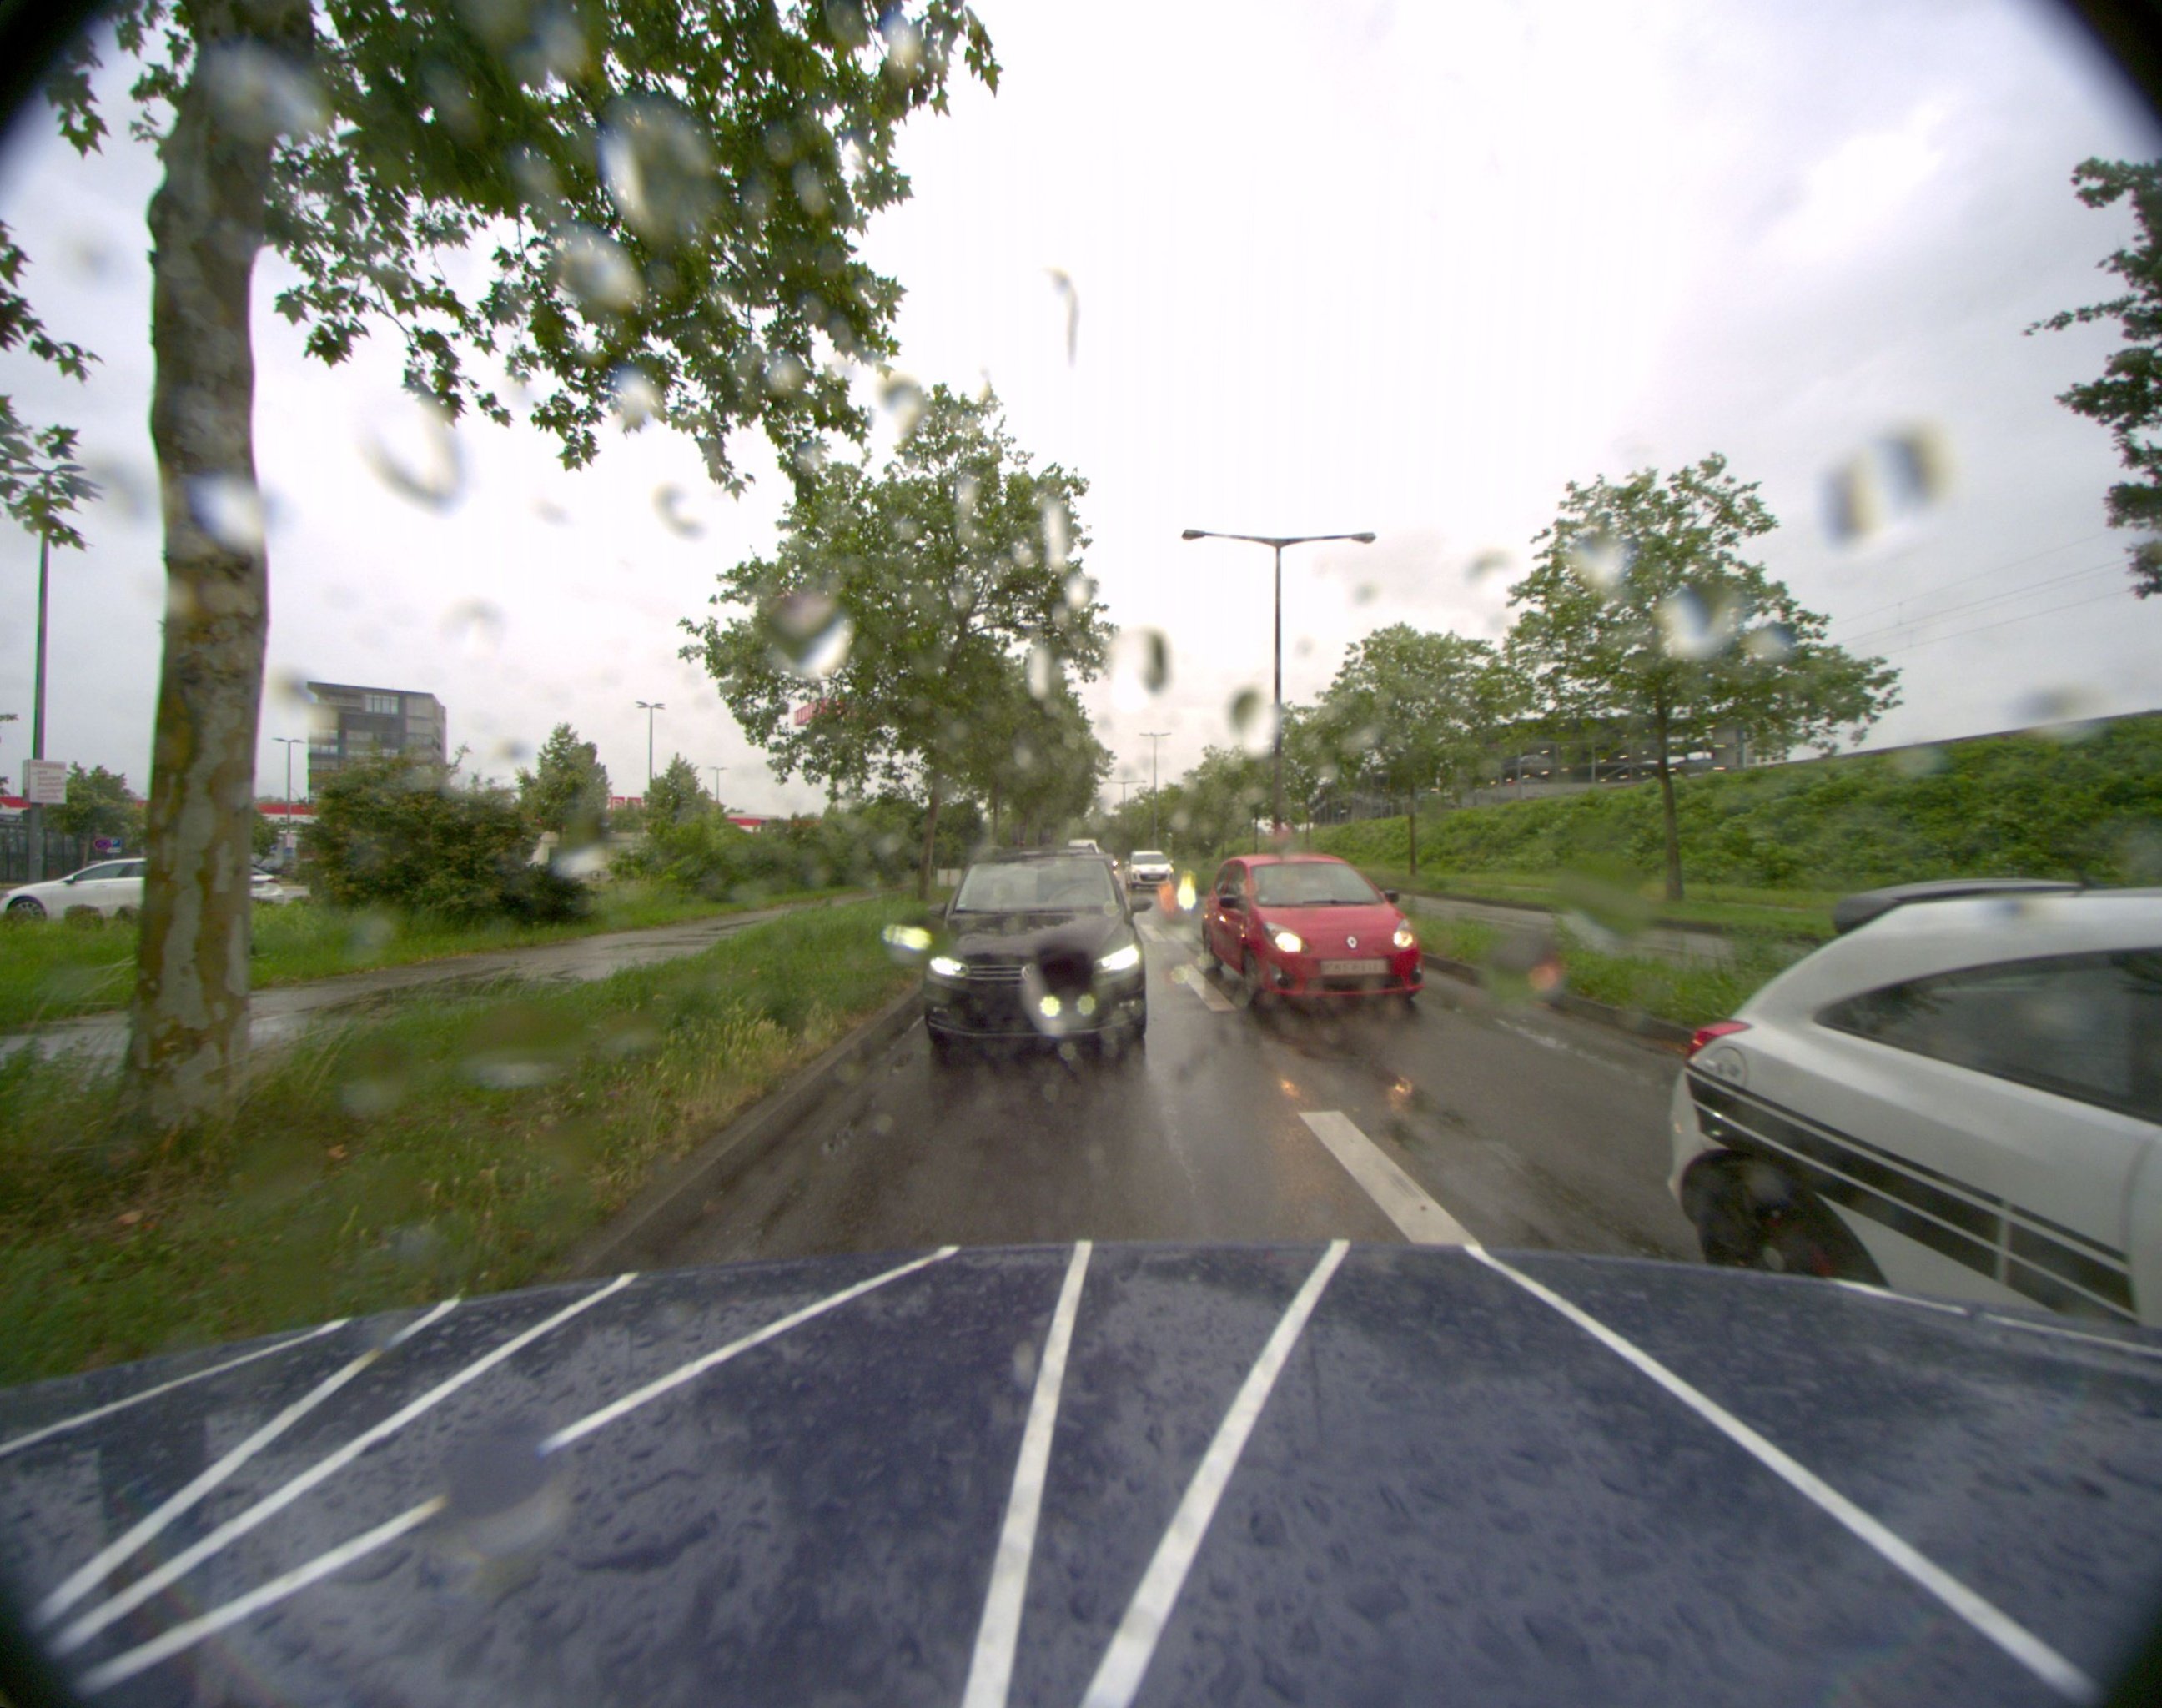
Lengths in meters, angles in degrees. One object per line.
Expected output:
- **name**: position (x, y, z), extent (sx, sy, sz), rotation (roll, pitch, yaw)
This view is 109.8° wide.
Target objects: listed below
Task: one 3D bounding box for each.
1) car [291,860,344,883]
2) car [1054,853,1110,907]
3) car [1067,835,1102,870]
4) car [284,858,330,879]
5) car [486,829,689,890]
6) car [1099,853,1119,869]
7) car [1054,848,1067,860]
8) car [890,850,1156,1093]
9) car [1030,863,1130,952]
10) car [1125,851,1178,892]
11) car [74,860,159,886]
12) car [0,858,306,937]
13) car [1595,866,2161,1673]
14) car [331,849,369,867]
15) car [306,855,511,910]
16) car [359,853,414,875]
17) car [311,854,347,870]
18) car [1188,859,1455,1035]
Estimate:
- **car**: position (-57.146, 1.269, 56.939), extent (1.933, 1.543, 4.262), rotation (0, 1, -33)
- **car**: position (0.024, 0.881, 27.718), extent (1.831, 1.737, 4.147), rotation (-2, 0, 0)
- **car**: position (0.260, -0.137, 48.699), extent (1.998, 2.002, 5.131), rotation (-2, 1, 1)
- **car**: position (-67.325, 1.252, 66.165), extent (2.006, 1.667, 4.262), rotation (0, 1, -34)
- **car**: position (-19.685, 0.204, 30.667), extent (6.425, 2.349, 2.390), rotation (0, 1, -8)
- **car**: position (2.846, 0.674, 77.246), extent (1.715, 1.494, 3.999), rotation (-2, 0, -2)
- **car**: position (-3.649, -0.044, 134.289), extent (1.726, 2.002, 3.996), rotation (-2, 1, -10)
- **car**: position (-0.440, 0.797, 7.539), extent (1.771, 1.596, 4.626), rotation (-2, 1, -1)
- **car**: position (-0.022, 0.962, 15.497), extent (1.724, 1.456, 4.092), rotation (-2, 0, 0)
- **car**: position (2.967, 0.714, 32.764), extent (1.831, 1.602, 4.147), rotation (-2, 0, 0)
- **car**: position (-61.758, 1.173, 48.746), extent (1.933, 1.543, 4.262), rotation (0, 1, -31)
- **car**: position (-19.804, 0.876, 16.251), extent (4.272, 1.543, 1.929), rotation (0, 1, -4)
- **car**: position (2.777, 0.766, 0.797), extent (1.683, 1.369, 4.010), rotation (-2, 0, -1)
- **car**: position (-69.050, 0.381, 71.816), extent (2.006, 1.667, 4.261), rotation (0, 1, -37)
- **car**: position (-19.961, 0.804, 22.721), extent (4.272, 1.543, 1.929), rotation (0, 1, -4)
- **car**: position (-50.527, 0.689, 55.376), extent (1.933, 1.543, 4.263), rotation (0, 1, -29)
- **car**: position (-78.518, 0.819, 79.417), extent (2.006, 1.667, 4.262), rotation (0, 1, -35)
- **car**: position (2.418, 0.841, 8.781), extent (1.724, 1.456, 4.092), rotation (-2, 0, 0)
